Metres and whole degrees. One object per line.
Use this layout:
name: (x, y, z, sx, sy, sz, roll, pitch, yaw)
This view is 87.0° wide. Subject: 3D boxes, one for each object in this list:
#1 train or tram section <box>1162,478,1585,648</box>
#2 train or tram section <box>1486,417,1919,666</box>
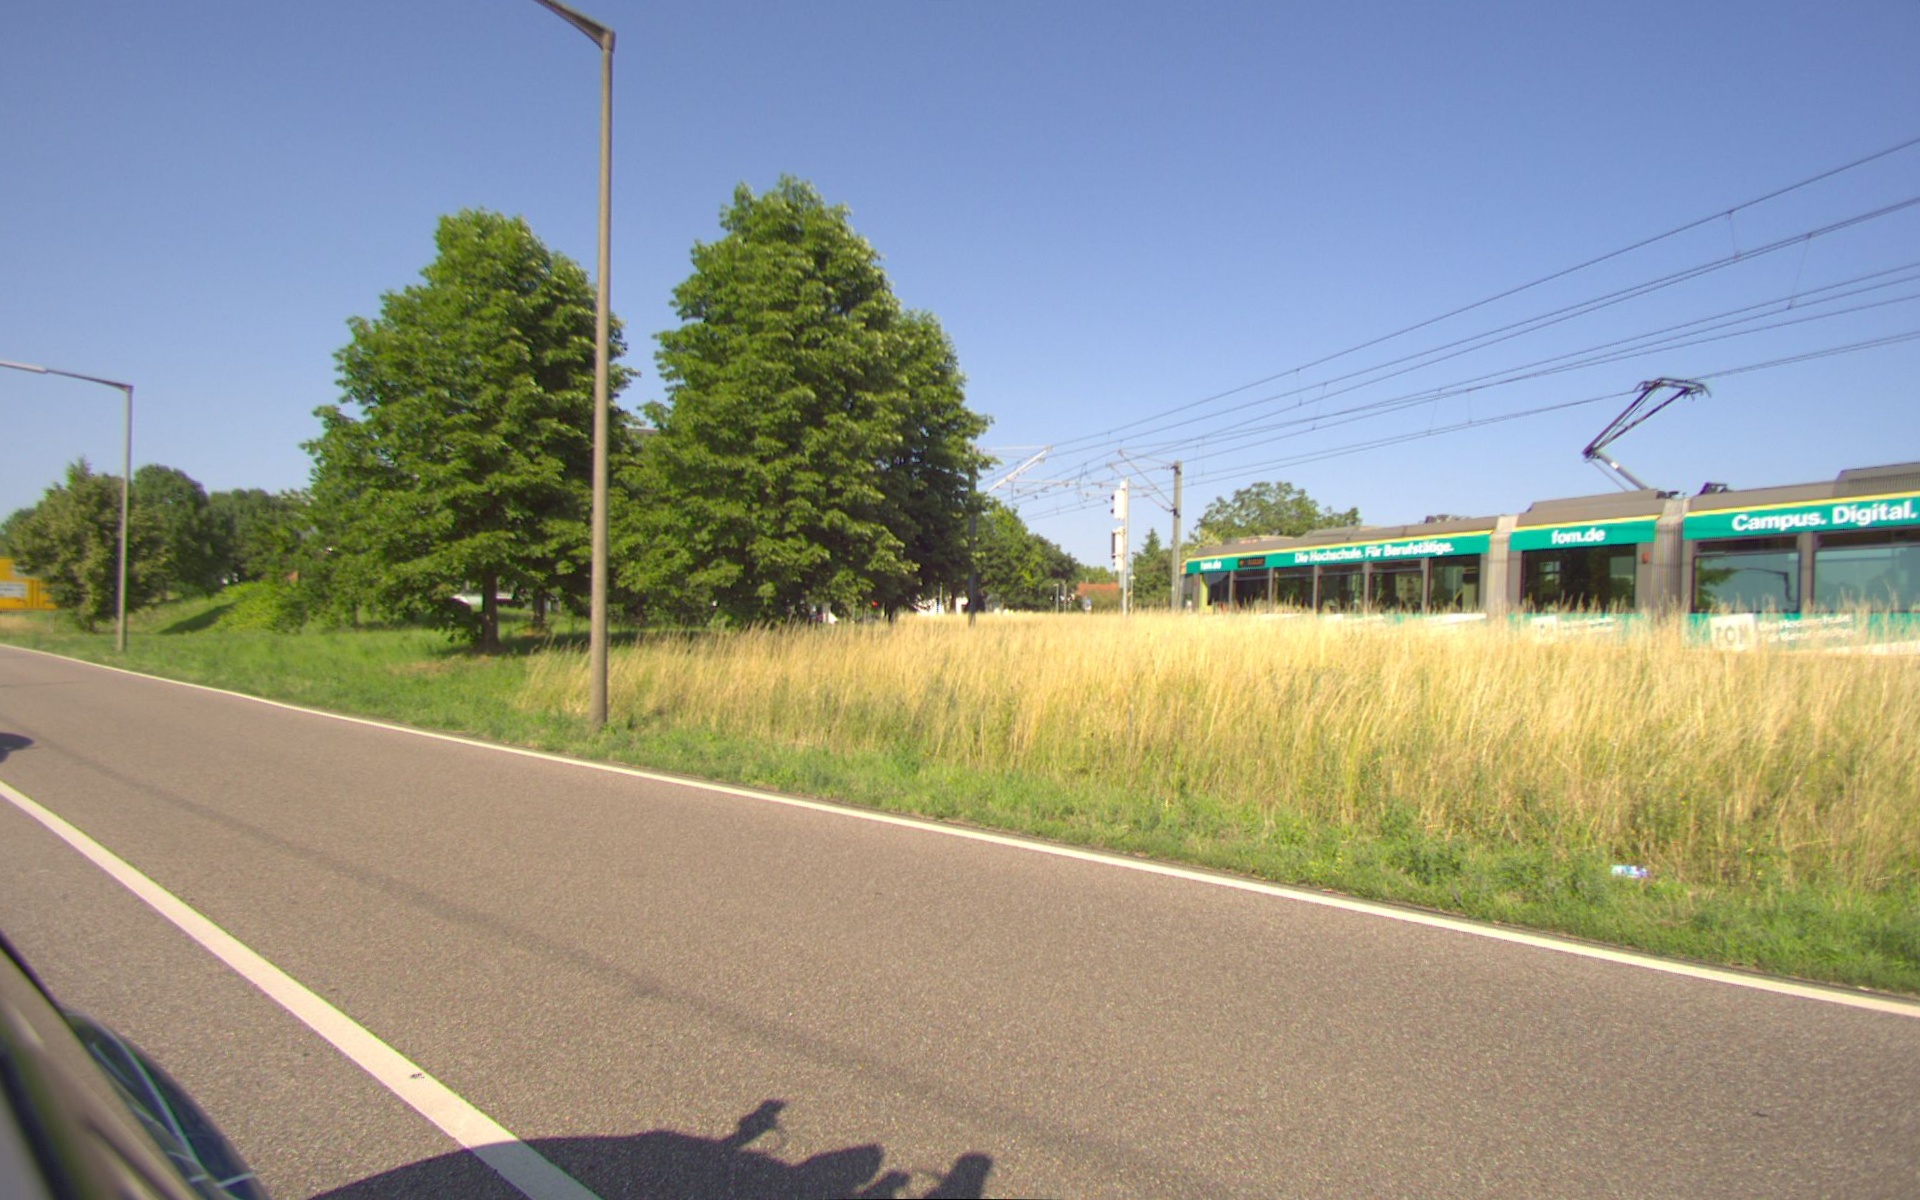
train or tram section: (9.960, -0.730, 27.043, 2.909, 3.511, 12.205, 0, 0, -20)
train or tram section: (14.373, -0.833, 15.578, 2.876, 3.480, 12.206, 0, 0, -22)
